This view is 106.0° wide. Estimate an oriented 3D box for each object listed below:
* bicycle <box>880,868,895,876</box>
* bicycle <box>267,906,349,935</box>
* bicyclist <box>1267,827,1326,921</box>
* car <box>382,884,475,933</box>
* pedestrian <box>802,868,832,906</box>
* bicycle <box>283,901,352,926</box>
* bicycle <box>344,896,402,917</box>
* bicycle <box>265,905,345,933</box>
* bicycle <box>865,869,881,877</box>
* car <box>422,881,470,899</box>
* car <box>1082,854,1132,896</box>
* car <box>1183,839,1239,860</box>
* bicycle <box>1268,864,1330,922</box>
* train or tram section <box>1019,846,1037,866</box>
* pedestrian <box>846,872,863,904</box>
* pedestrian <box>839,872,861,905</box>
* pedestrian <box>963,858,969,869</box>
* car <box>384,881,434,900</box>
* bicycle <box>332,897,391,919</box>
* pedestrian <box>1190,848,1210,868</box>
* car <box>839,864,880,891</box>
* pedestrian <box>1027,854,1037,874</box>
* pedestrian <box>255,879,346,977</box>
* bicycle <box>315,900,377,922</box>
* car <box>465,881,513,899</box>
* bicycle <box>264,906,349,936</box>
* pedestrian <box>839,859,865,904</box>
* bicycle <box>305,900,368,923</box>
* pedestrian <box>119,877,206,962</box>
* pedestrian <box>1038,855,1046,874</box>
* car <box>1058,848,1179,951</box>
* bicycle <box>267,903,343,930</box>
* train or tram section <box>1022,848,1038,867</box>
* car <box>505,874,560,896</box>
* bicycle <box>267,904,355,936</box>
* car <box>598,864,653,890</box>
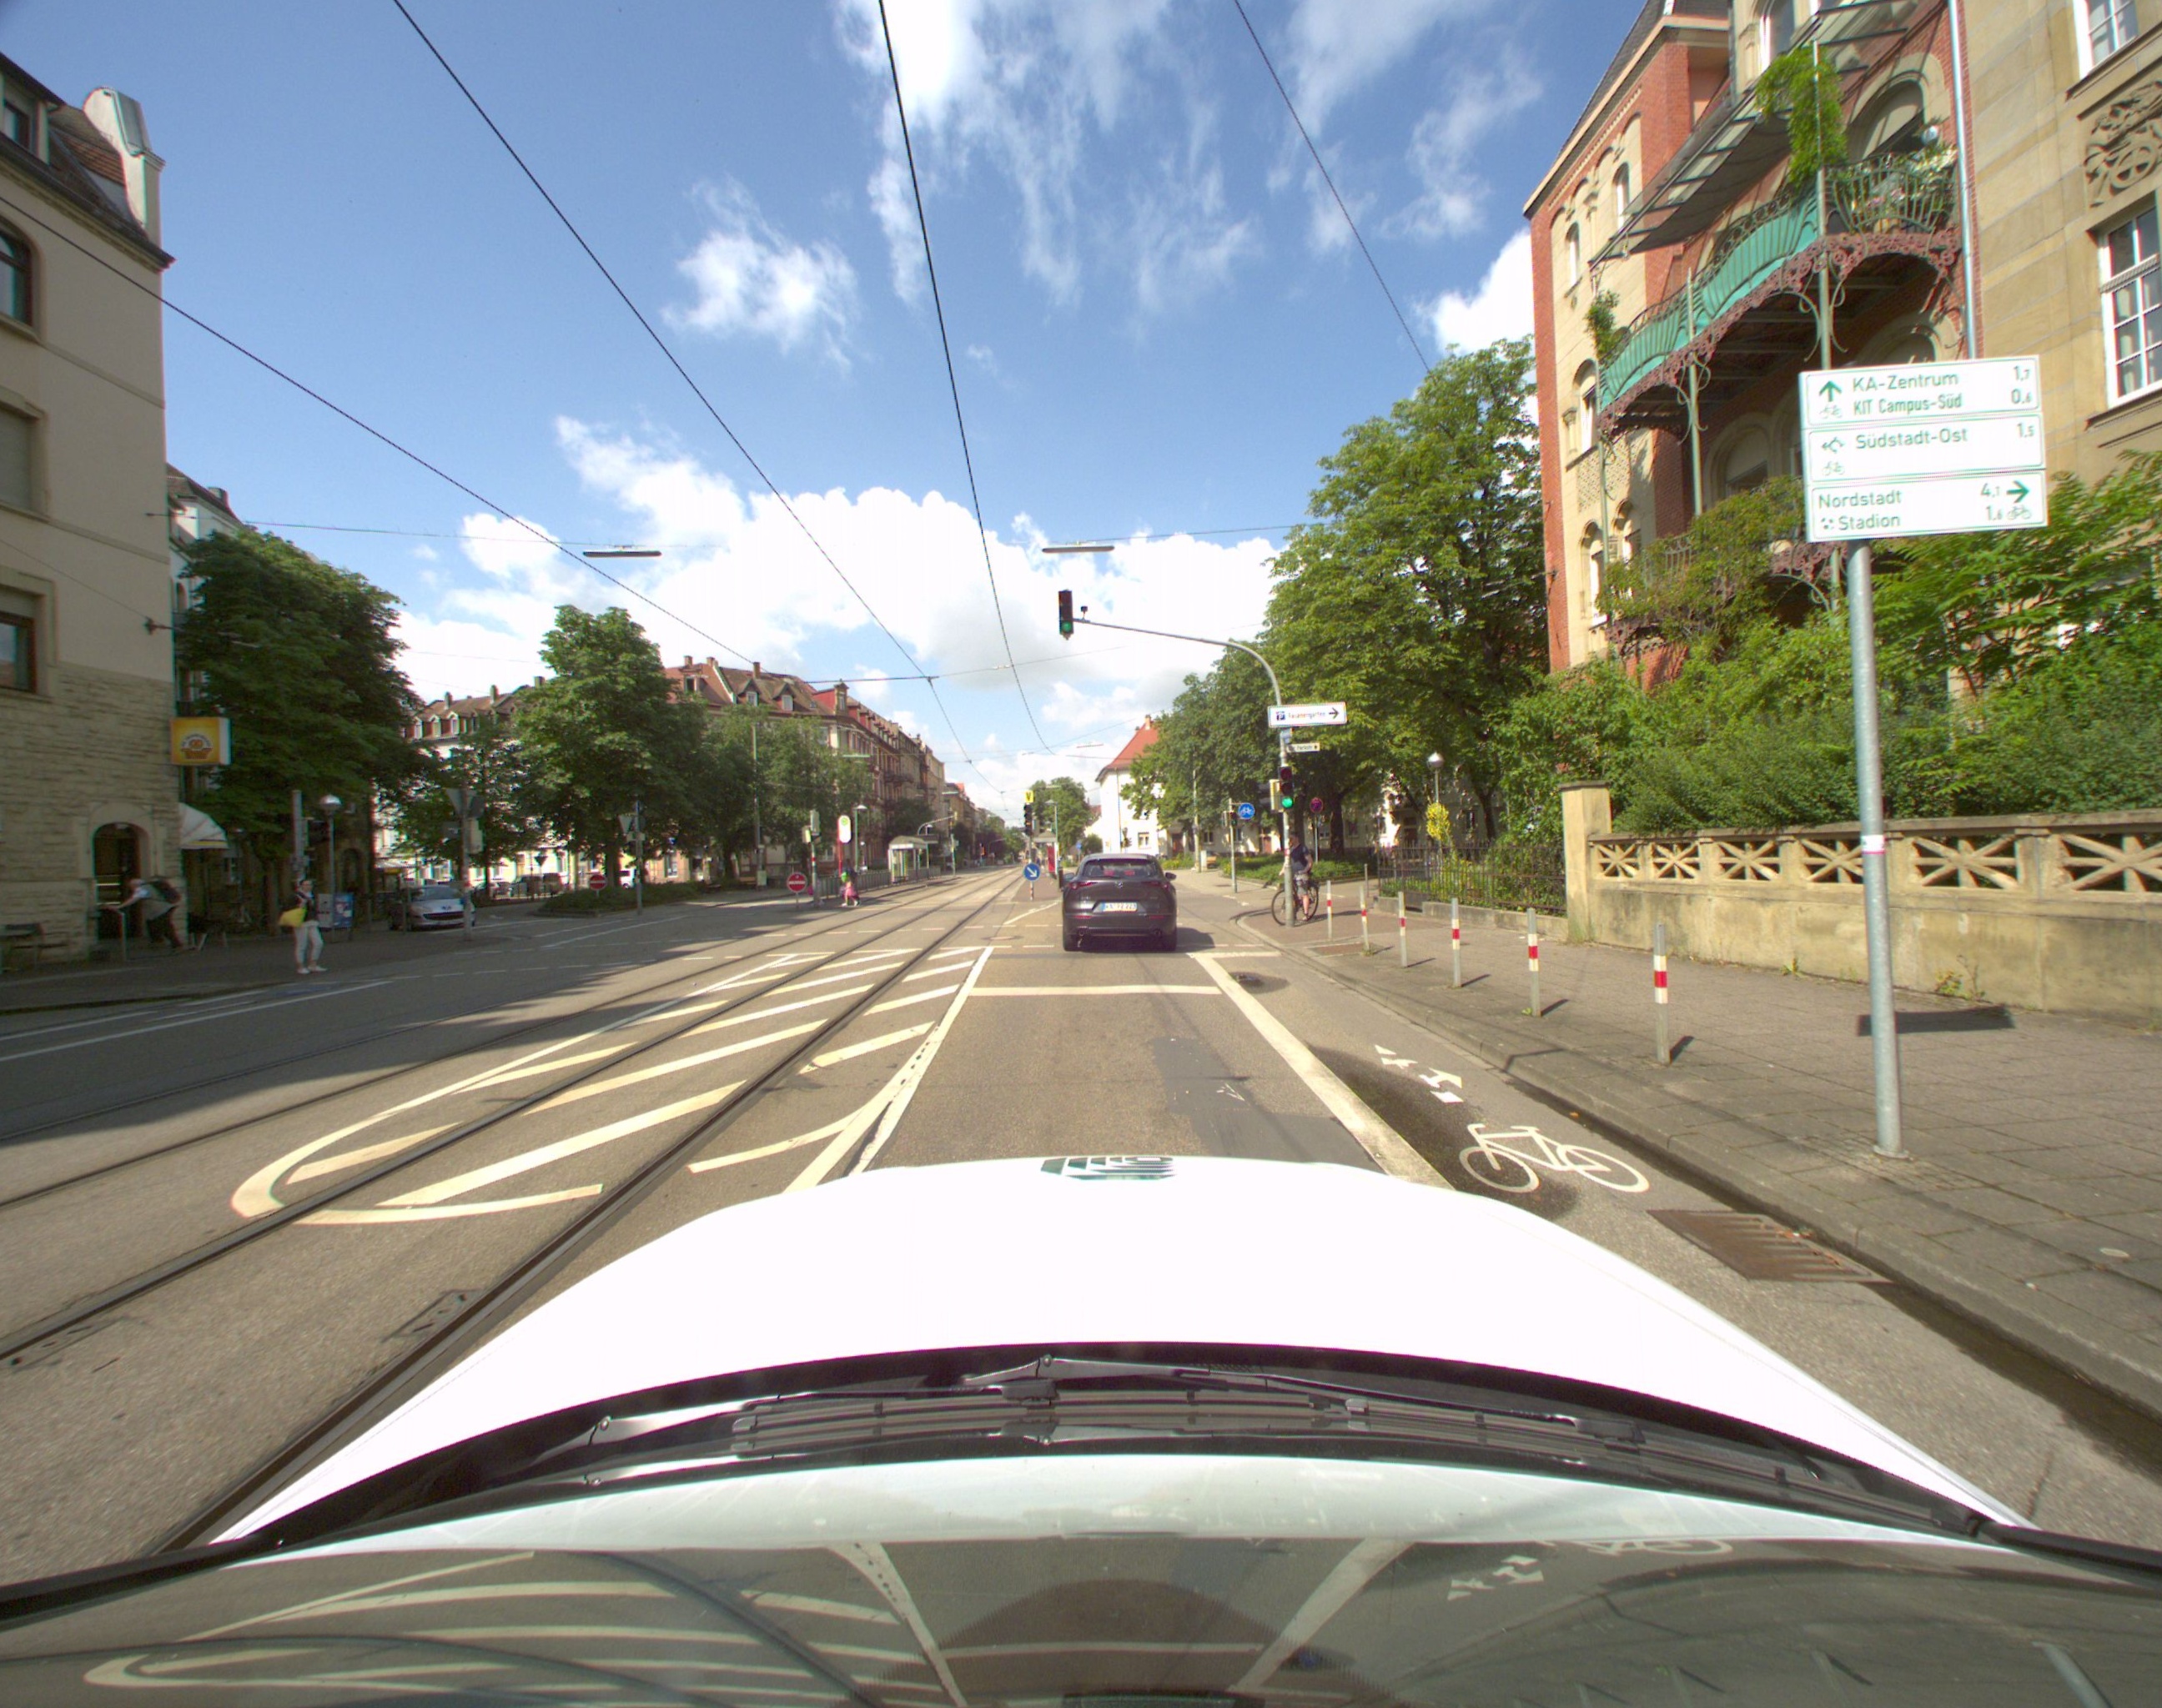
[{"bbox_3d":[-20.032,1.825,84.329,0.381,0.747,1.722,-3,0,33],"label":"bicycle"},{"bbox_3d":[-26.742,2.286,28.214,0.505,0.882,2.043,-3,-2,44],"label":"bicycle"},{"bbox_3d":[4.355,0.393,16.457,0.736,1.819,0.814,-2,0,-25],"label":"bicyclist"},{"bbox_3d":[-21.823,1.796,27.195,3.823,1.420,1.732,-3,0,41],"label":"car"},{"bbox_3d":[-9.646,1.189,29.792,0.825,1.303,0.715,-5,0,-7],"label":"pedestrian"},{"bbox_3d":[-31.769,2.459,33.921,2.040,0.898,0.540,-1,-2,-37],"label":"bicycle"},{"bbox_3d":[-34.654,2.550,39.897,2.037,0.898,0.566,-1,-2,-30],"label":"bicycle"},{"bbox_3d":[-27.720,2.306,29.125,0.505,0.882,2.043,-3,-2,44],"label":"bicycle"},{"bbox_3d":[-21.142,1.897,82.647,0.381,0.747,1.722,-3,0,33],"label":"bicycle"},{"bbox_3d":[-57.766,3.260,74.040,3.606,1.494,1.638,-3,0,18],"label":"car"},{"bbox_3d":[0.934,0.760,31.036,1.770,1.464,3.841,-1,0,-1],"label":"car"},{"bbox_3d":[10.884,-0.375,68.316,4.118,1.509,1.864,-3,1,40],"label":"car"},{"bbox_3d":[4.461,0.765,16.576,0.385,1.035,1.857,-3,0,42],"label":"bicycle"},{"bbox_3d":[-11.231,0.546,173.824,2.989,3.983,13.799,-3,-1,-1],"label":"train or tram section"},{"bbox_3d":[-8.317,1.242,29.918,0.437,1.108,0.422,-5,0,-7],"label":"pedestrian"},{"bbox_3d":[-8.152,1.210,28.699,0.640,1.114,0.442,-2,-1,-7],"label":"pedestrian"},{"bbox_3d":[-17.336,1.392,122.782,0.785,1.688,0.731,-2,0,-1],"label":"pedestrian"},{"bbox_3d":[-62.308,3.356,75.528,3.875,1.555,1.726,-3,0,19],"label":"car"},{"bbox_3d":[-34.448,2.573,39.014,2.037,0.898,0.566,-1,-2,-30],"label":"bicycle"},{"bbox_3d":[8.078,0.255,55.285,1.191,1.269,0.556,-5,0,-8],"label":"pedestrian"},{"bbox_3d":[-13.184,1.369,48.683,1.621,1.387,3.431,-4,0,-4],"label":"car"},{"bbox_3d":[-4.220,0.840,70.165,0.769,1.674,0.667,-3,0,-3],"label":"pedestrian"},{"bbox_3d":[-14.269,1.329,14.913,0.754,1.704,0.873,2,-1,-3],"label":"pedestrian"},{"bbox_3d":[-33.978,2.624,37.679,2.037,0.898,0.566,-1,-2,-30],"label":"bicycle"},{"bbox_3d":[-52.616,3.186,72.357,3.652,1.393,1.501,-3,0,18],"label":"car"},{"bbox_3d":[-25.937,2.224,27.294,0.505,0.882,2.043,-3,-2,44],"label":"bicycle"},{"bbox_3d":[-8.251,0.983,29.324,0.727,1.565,0.797,-2,0,-7],"label":"pedestrian"},{"bbox_3d":[-33.334,2.575,36.497,2.039,0.898,0.566,-1,-2,-33],"label":"bicycle"},{"bbox_3d":[-19.119,1.339,16.981,0.821,1.672,0.853,-3,0,-16],"label":"pedestrian"},{"bbox_3d":[-3.303,0.890,69.143,0.666,1.546,0.580,-2,0,-3],"label":"pedestrian"},{"bbox_3d":[0.619,0.691,14.049,1.775,1.514,4.001,0,-1,2],"label":"car"},{"bbox_3d":[-28.895,2.318,30.349,0.539,0.882,2.043,-3,-2,44],"label":"bicycle"},{"bbox_3d":[-11.585,0.914,187.667,2.989,3.983,13.799,-3,-1,-1],"label":"train or tram section"},{"bbox_3d":[-47.485,2.709,70.501,3.895,1.663,1.926,-3,0,20],"label":"car"},{"bbox_3d":[-24.943,2.113,26.408,0.516,0.882,2.043,-3,-2,44],"label":"bicycle"},{"bbox_3d":[-37.958,1.948,67.892,3.901,1.988,1.866,-2,0,21],"label":"car"}]
